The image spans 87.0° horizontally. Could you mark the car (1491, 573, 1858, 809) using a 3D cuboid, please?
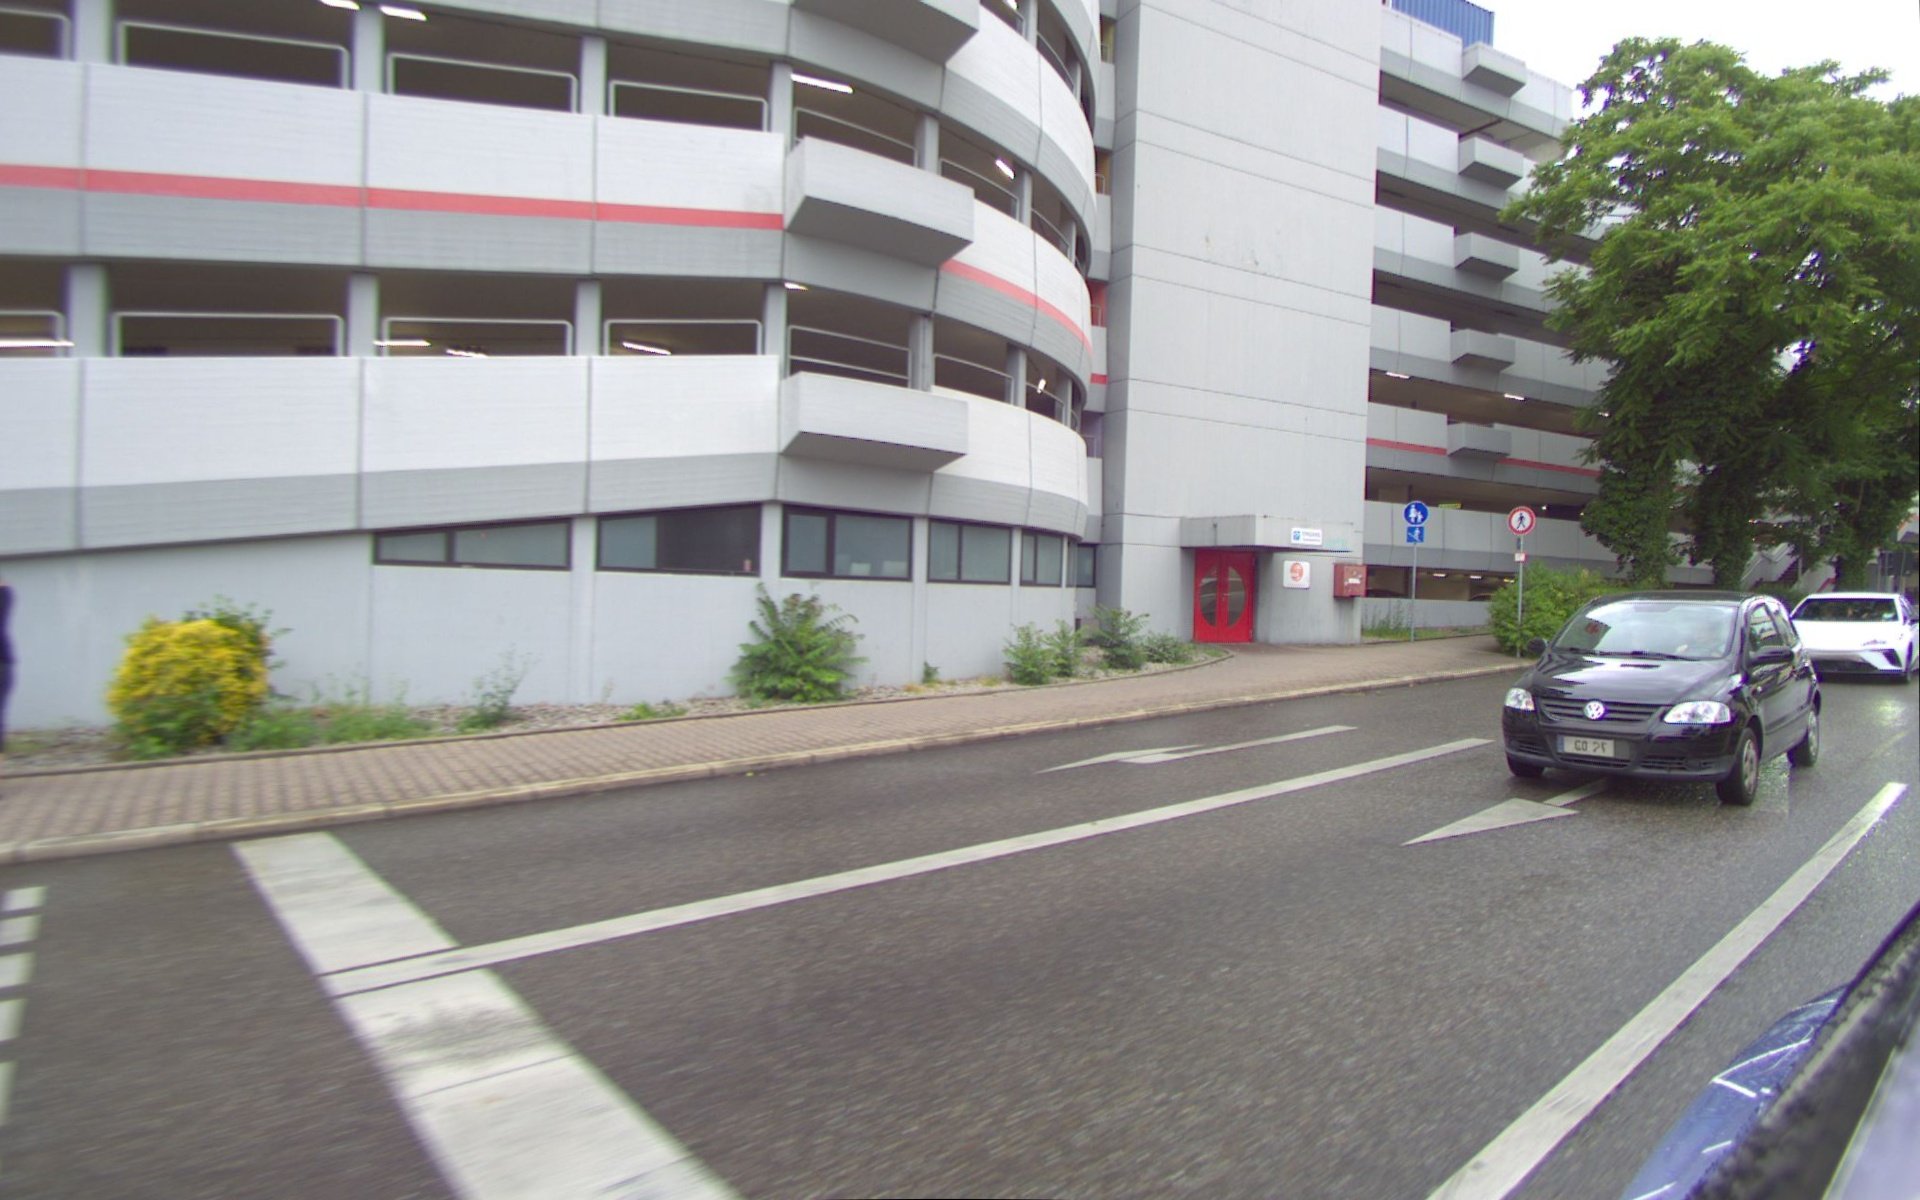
[{"bbox_3d":[6.158,0.583,8.557,3.921,1.544,1.681,0,0,-41],"label":"car"}]

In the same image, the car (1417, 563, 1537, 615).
[{"bbox_3d":[18.628,-0.436,36.611,1.779,1.805,3.472,0,2,-28],"label":"car"}]

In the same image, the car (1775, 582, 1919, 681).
[{"bbox_3d":[15.879,0.462,17.716,3.969,1.470,1.913,-2,1,-42],"label":"car"}]

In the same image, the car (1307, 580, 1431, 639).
[{"bbox_3d":[13.502,0.265,33.546,1.779,1.805,3.472,0,2,-28],"label":"car"}]

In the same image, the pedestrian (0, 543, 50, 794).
[{"bbox_3d":[-6.859,0.475,7.028,0.462,1.731,0.648,-1,1,-5],"label":"pedestrian"}]
